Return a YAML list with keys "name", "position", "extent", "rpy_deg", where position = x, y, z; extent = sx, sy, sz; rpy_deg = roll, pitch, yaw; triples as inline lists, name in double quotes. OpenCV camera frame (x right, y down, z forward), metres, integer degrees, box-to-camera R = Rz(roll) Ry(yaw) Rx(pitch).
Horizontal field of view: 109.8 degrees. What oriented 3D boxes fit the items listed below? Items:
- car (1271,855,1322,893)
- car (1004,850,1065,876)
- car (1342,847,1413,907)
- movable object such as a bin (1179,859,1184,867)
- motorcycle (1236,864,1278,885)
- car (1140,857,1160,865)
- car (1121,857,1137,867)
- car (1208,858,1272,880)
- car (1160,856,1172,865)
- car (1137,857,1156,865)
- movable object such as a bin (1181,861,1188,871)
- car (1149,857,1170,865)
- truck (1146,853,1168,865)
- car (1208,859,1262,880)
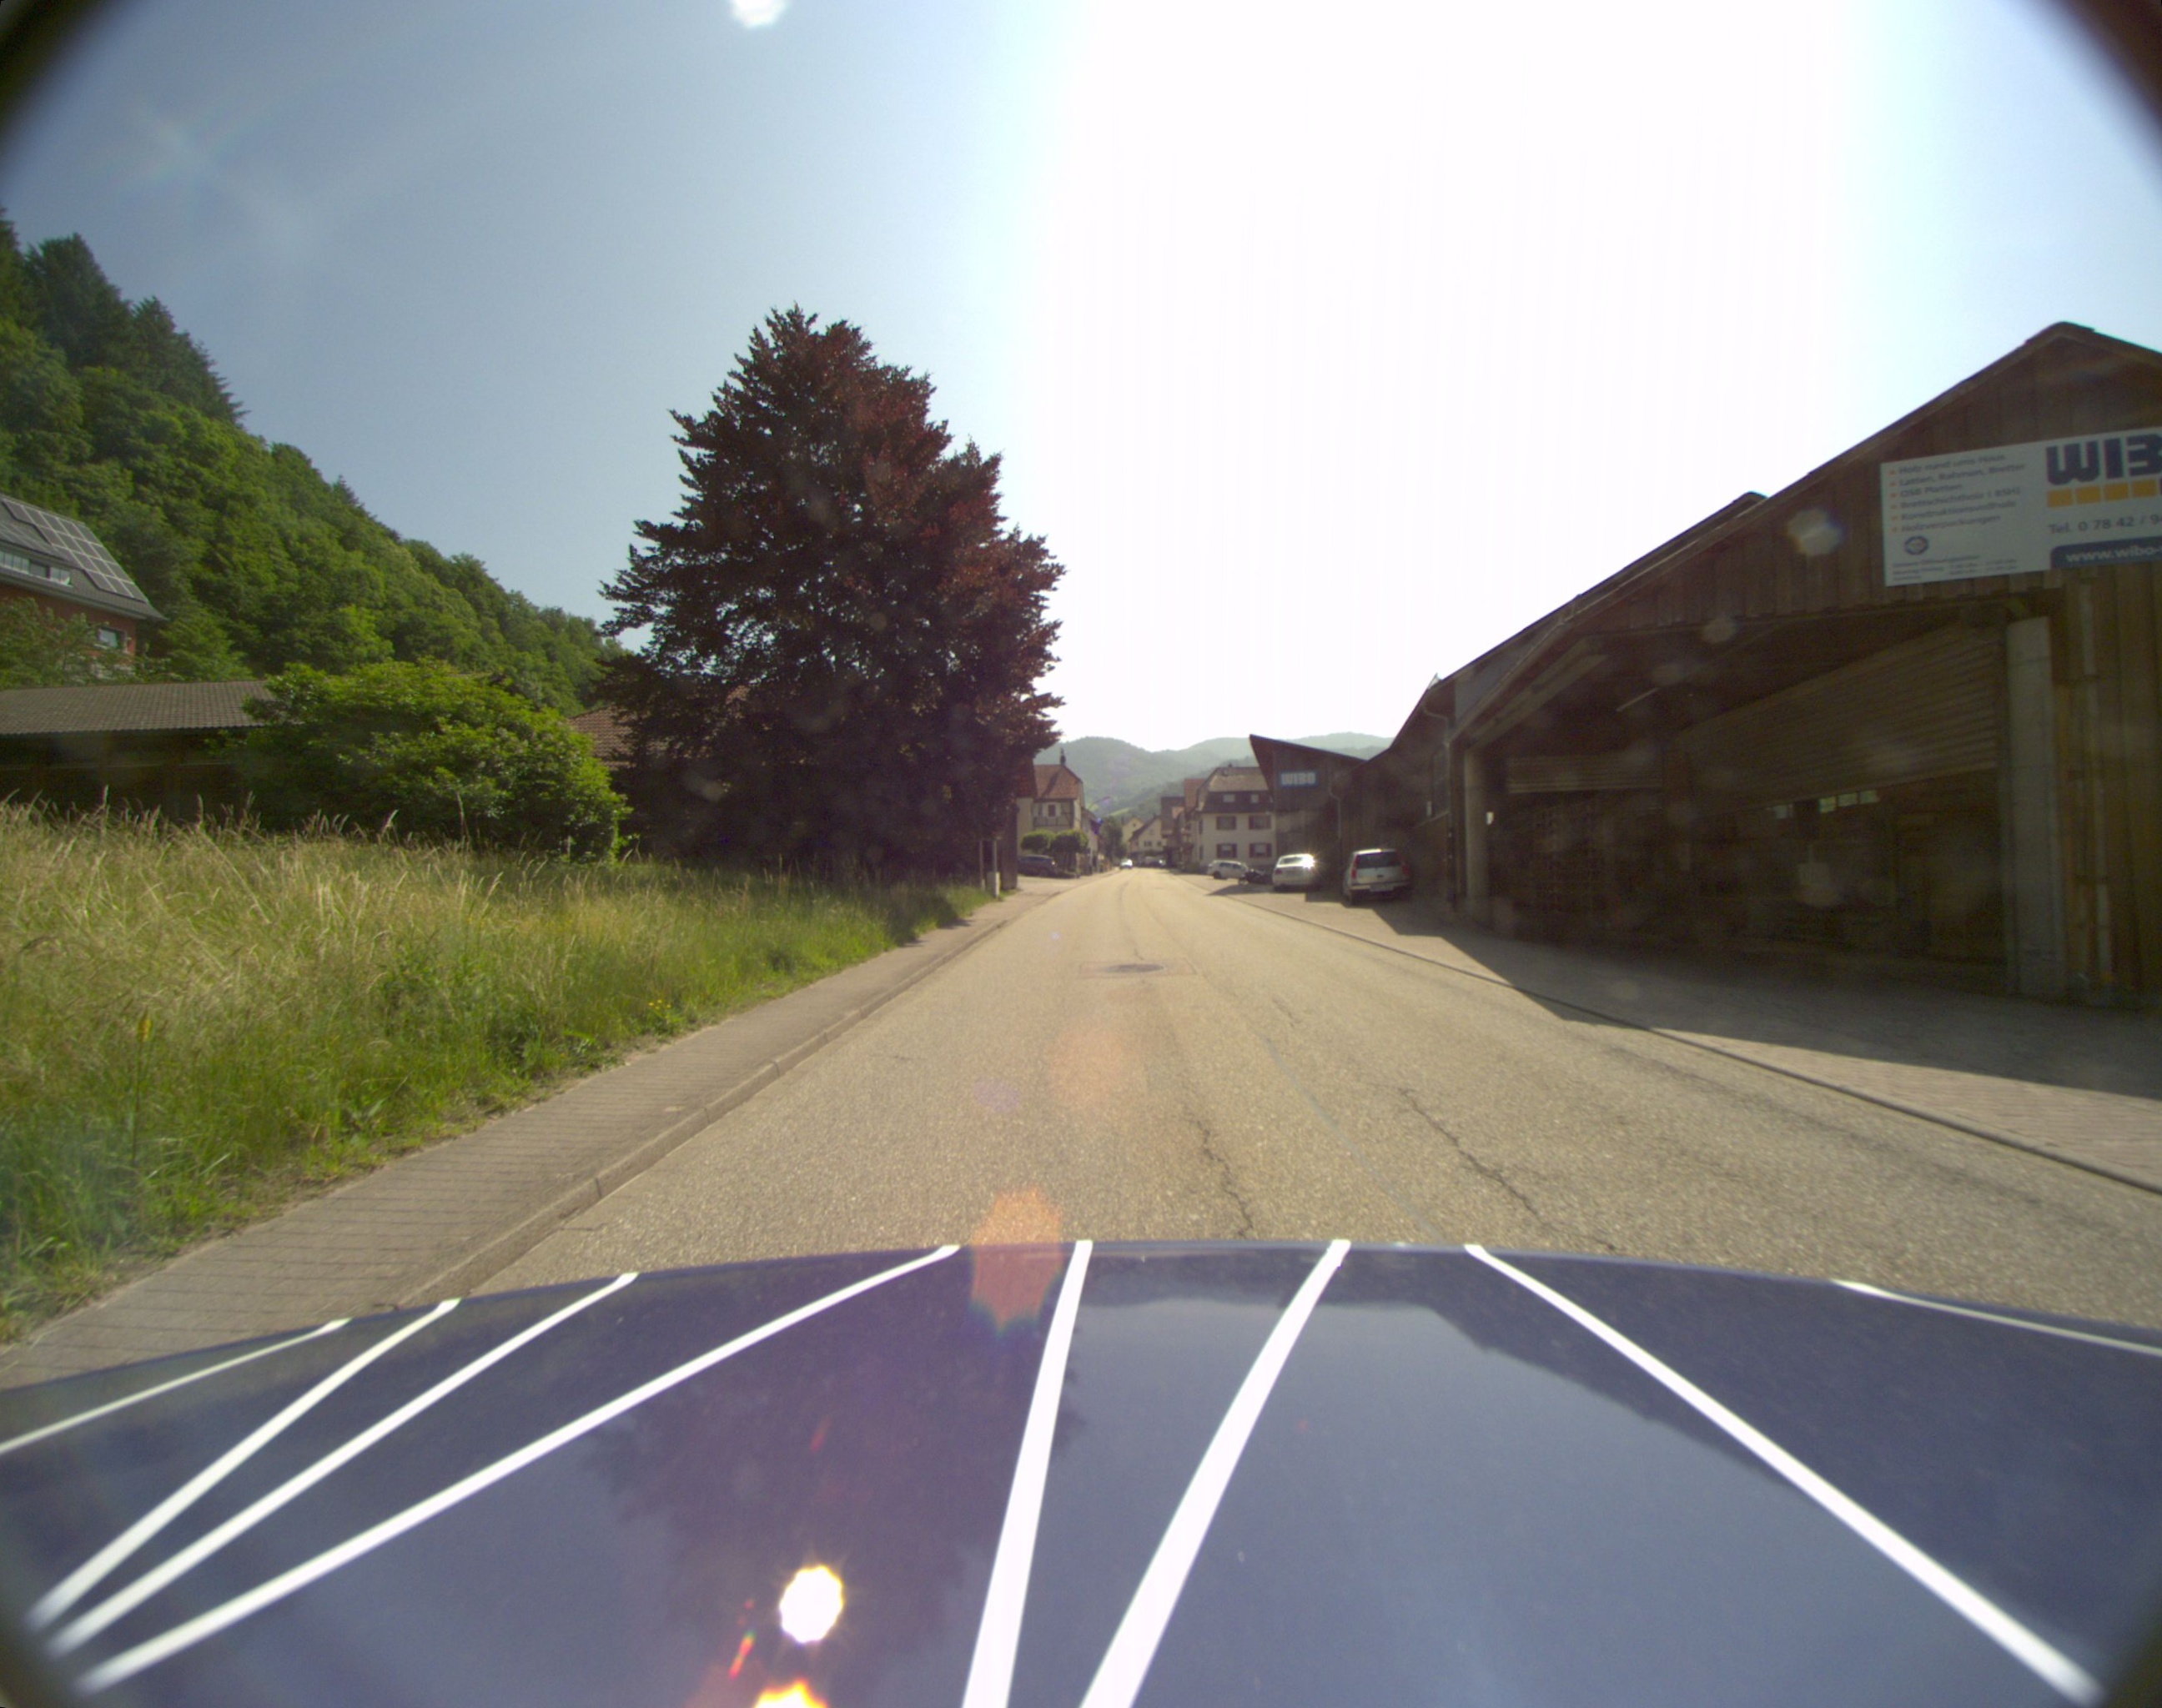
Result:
- name: "car"
  position: [9.052, 0.812, 31.703]
  extent: [1.731, 1.445, 4.812]
  rpy_deg: [-1, -1, 19]
- name: "car"
  position: [-3.504, 0.682, 57.405]
  extent: [4.228, 1.677, 1.778]
  rpy_deg: [4, 1, 9]
- name: "car"
  position: [8.799, 0.654, 22.837]
  extent: [1.583, 1.560, 4.028]
  rpy_deg: [-4, -1, 17]
- name: "movable object such as a bin"
  position: [14.444, 1.312, 108.861]
  extent: [0.719, 1.174, 0.598]
  rpy_deg: [1, 0, 6]
- name: "motorcycle"
  position: [10.675, 1.220, 46.050]
  extent: [2.412, 1.257, 0.744]
  rpy_deg: [0, 0, 15]
- name: "car"
  position: [14.422, 1.483, 158.370]
  extent: [3.997, 1.444, 1.628]
  rpy_deg: [1, 0, 1]
- name: "car"
  position: [8.463, 1.402, 134.853]
  extent: [2.000, 1.672, 3.997]
  rpy_deg: [0, 0, -9]
- name: "car"
  position: [12.358, 1.130, 59.034]
  extent: [4.430, 1.466, 1.929]
  rpy_deg: [3, 1, 31]
- name: "car"
  position: [15.815, 1.237, 141.771]
  extent: [1.774, 1.544, 4.286]
  rpy_deg: [-2, 0, 2]
- name: "car"
  position: [13.934, 1.462, 161.329]
  extent: [3.995, 1.563, 1.578]
  rpy_deg: [1, 0, 7]
- name: "movable object such as a bin"
  position: [12.135, 1.409, 89.076]
  extent: [0.677, 1.060, 0.621]
  rpy_deg: [-1, 0, 4]
- name: "car"
  position: [15.365, 1.341, 149.356]
  extent: [4.104, 1.494, 1.754]
  rpy_deg: [-1, 0, 3]
- name: "truck"
  position: [15.452, 0.947, 154.331]
  extent: [4.176, 2.253, 2.000]
  rpy_deg: [-2, 0, 0]
- name: "car"
  position: [11.490, 1.128, 56.577]
  extent: [3.662, 1.377, 1.713]
  rpy_deg: [3, 1, 20]
